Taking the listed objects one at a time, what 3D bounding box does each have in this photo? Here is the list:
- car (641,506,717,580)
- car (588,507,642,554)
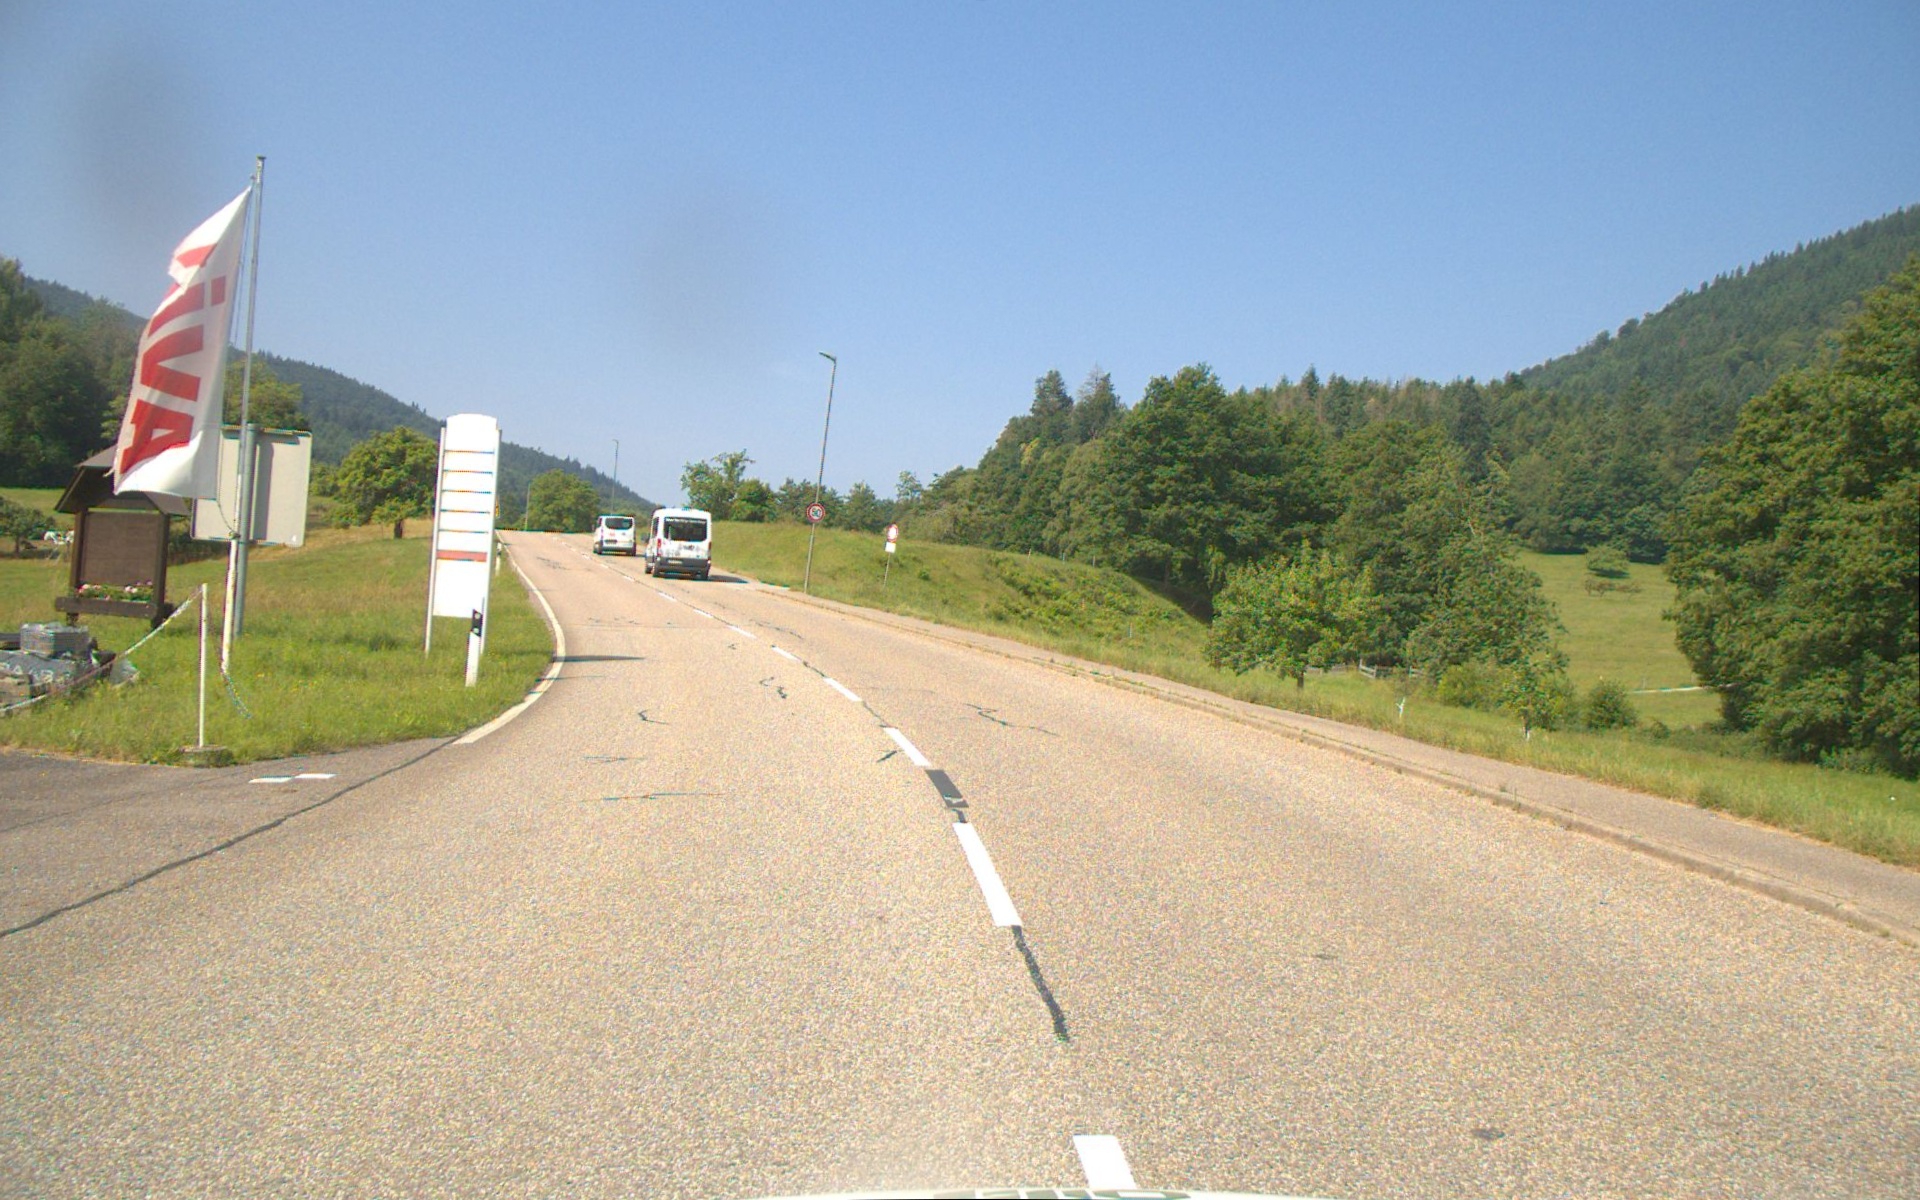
[{"bbox_3d":[-10.370,-2.046,60.793,2.187,2.569,4.962,0,1,-17],"label":"car"},{"bbox_3d":[-18.056,-3.589,86.381,2.188,2.326,4.959,0,1,-18],"label":"car"}]
